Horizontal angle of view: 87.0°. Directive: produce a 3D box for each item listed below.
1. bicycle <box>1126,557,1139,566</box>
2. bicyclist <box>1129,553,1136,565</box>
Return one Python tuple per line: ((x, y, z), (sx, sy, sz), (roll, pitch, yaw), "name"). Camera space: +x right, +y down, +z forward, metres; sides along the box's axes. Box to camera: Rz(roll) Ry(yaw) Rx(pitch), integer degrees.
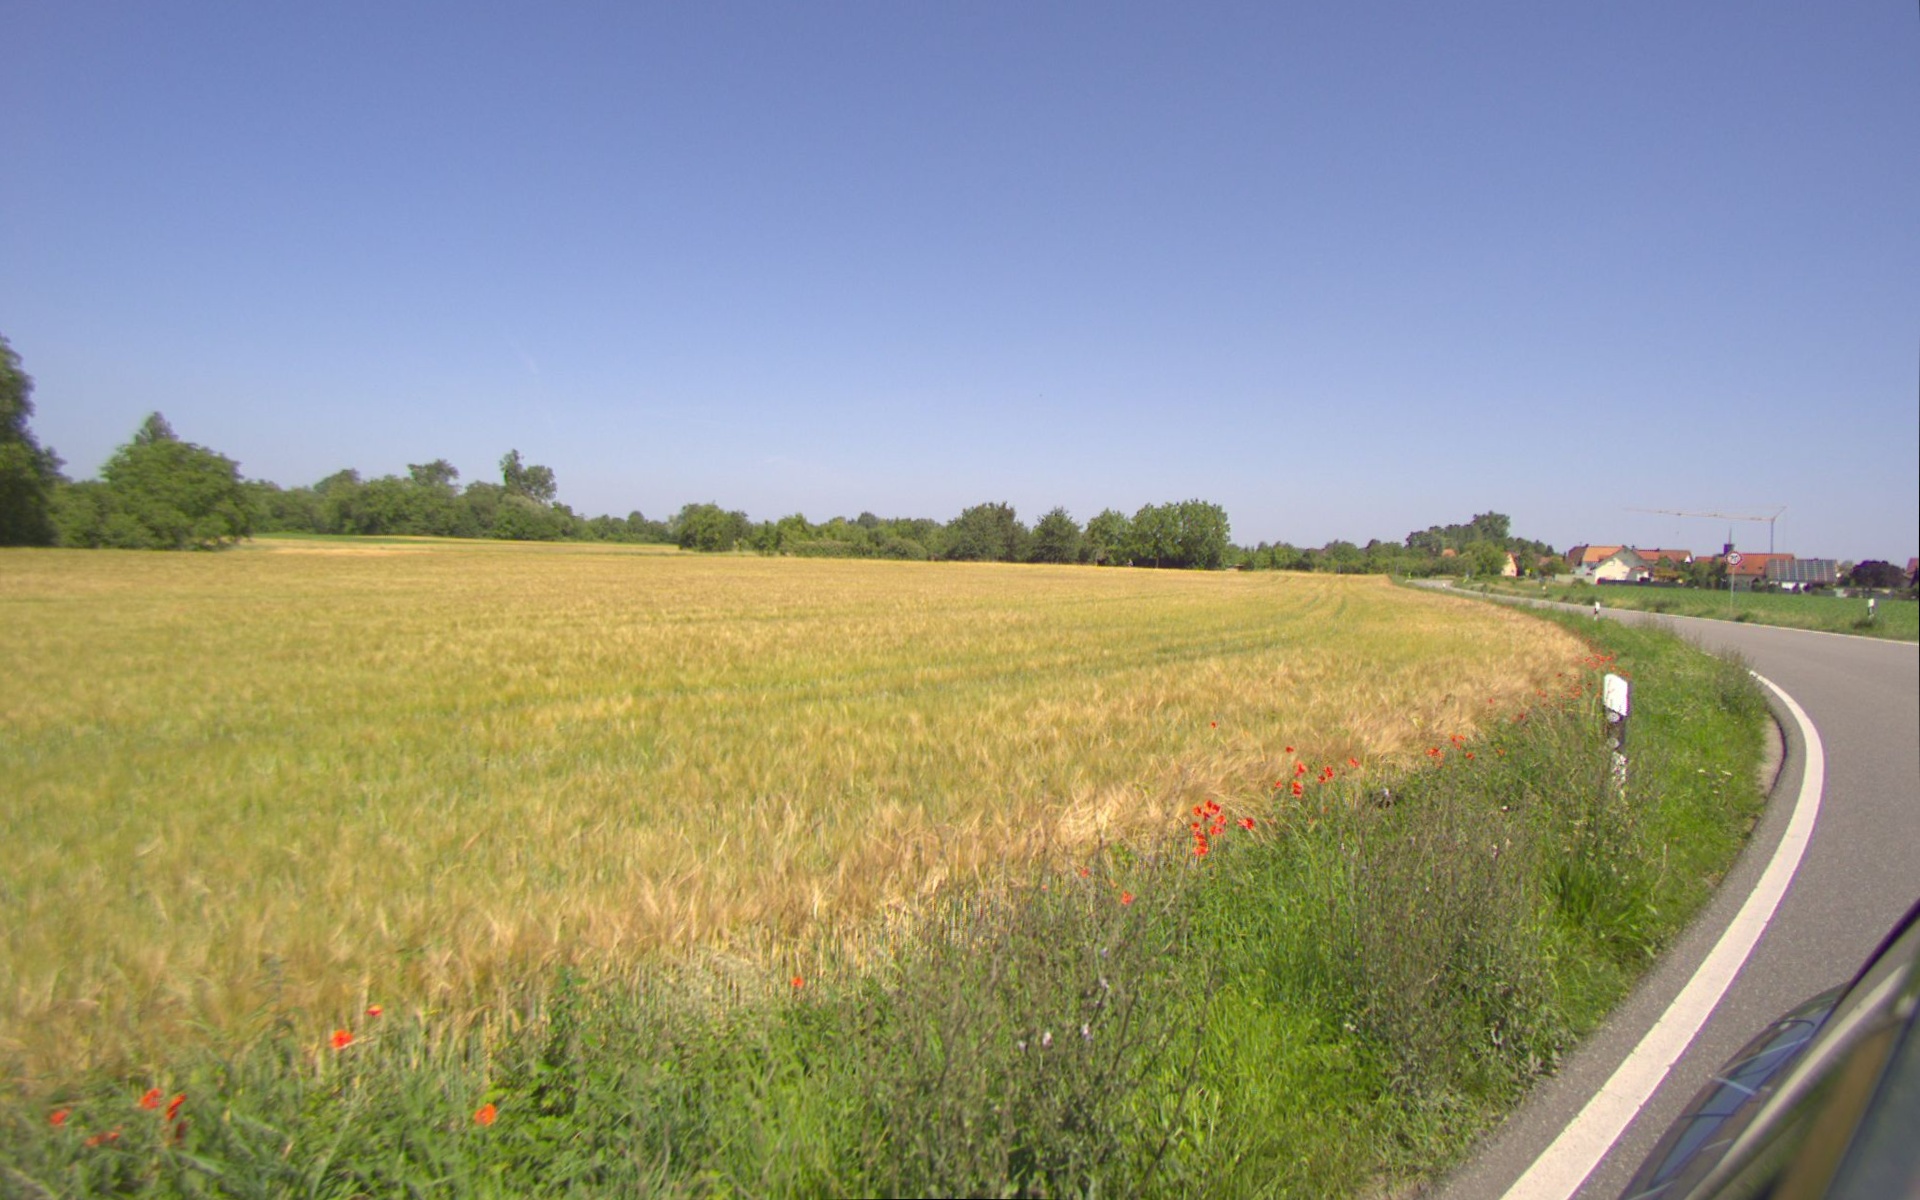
((24.180, -5.376, 141.700), (1.732, 1.129, 0.523), (1, 3, -13), "bicycle")
((24.195, -5.763, 141.685), (0.720, 1.593, 0.676), (1, 3, -13), "bicyclist")
